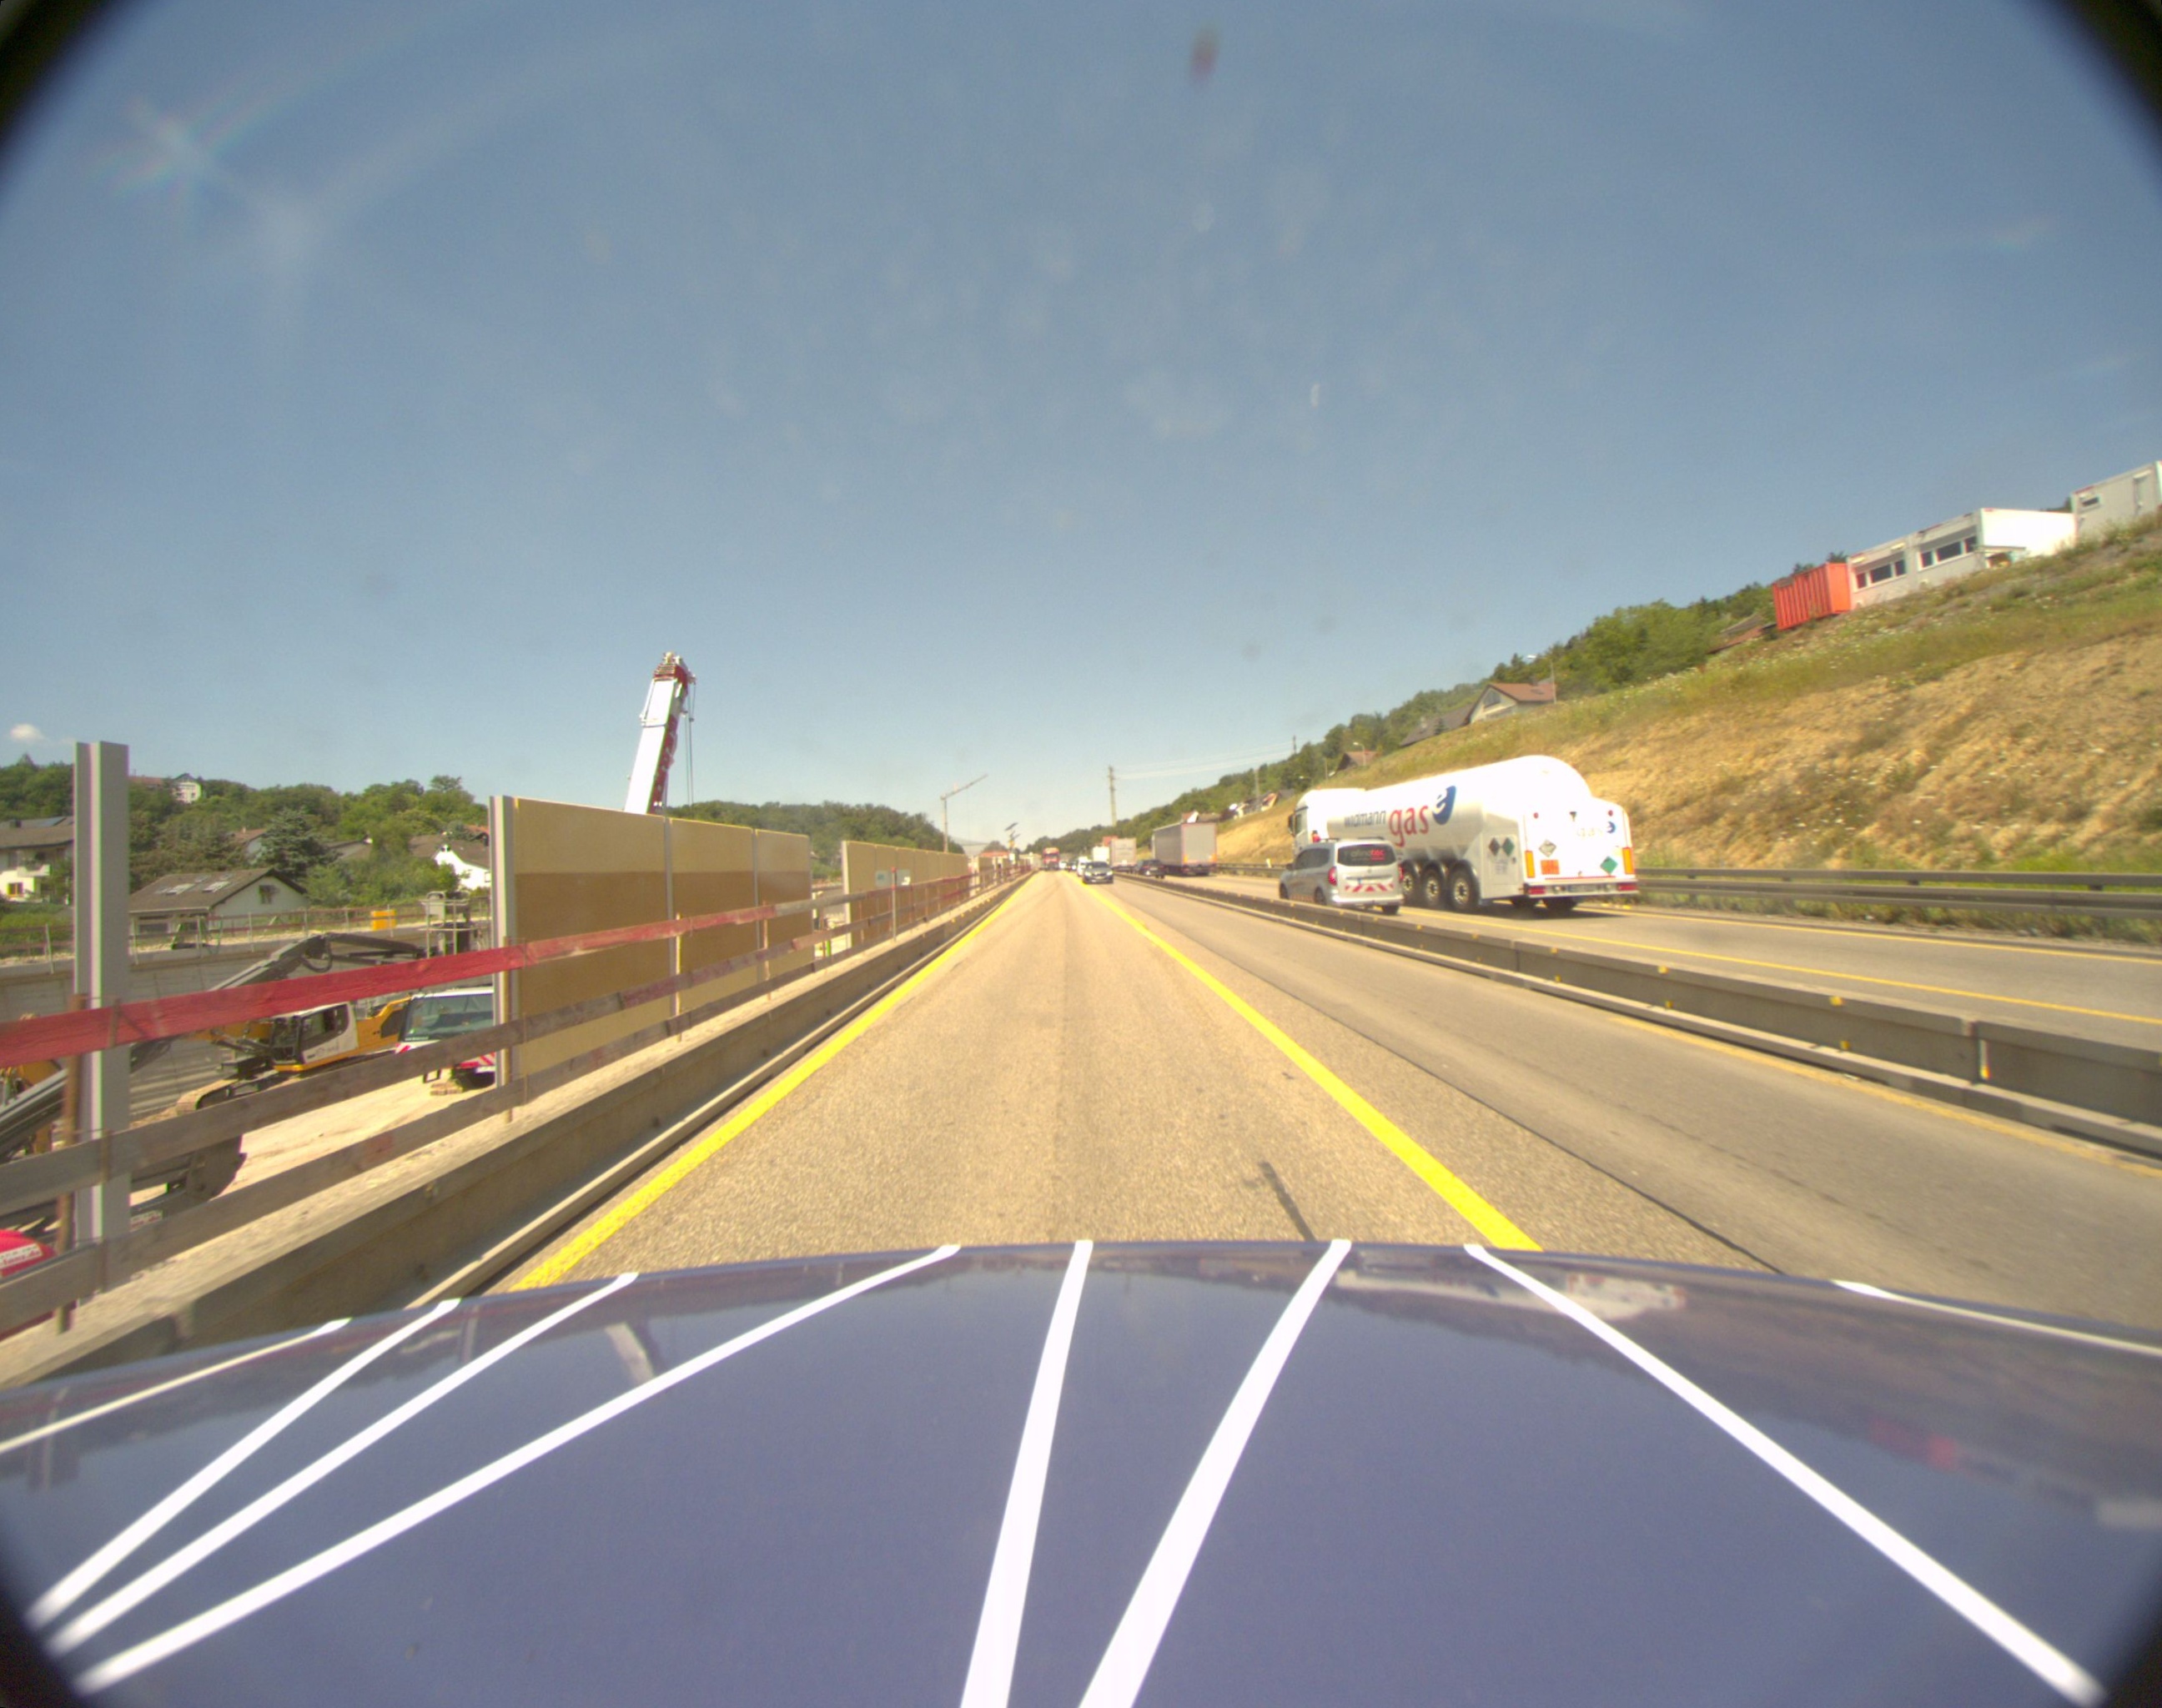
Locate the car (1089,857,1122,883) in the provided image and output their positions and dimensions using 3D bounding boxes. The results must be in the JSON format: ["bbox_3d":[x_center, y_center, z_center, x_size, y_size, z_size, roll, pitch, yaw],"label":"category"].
[{"bbox_3d":[1.473,0.993,47.583,1.780,1.447,4.336,-2,-1,-2],"label":"car"}]

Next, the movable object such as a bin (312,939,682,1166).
[{"bbox_3d":[-14.529,4.625,20.373,2.974,3.467,9.149,-4,0,-3],"label":"movable object such as a bin"}]

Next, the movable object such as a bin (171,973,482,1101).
[{"bbox_3d":[-26.213,6.220,27.220,3.171,2.431,7.893,-4,0,-1],"label":"movable object such as a bin"}]

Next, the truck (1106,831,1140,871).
[{"bbox_3d":[4.095,-0.249,76.117,2.596,3.736,7.357,-3,0,-2],"label":"truck"}]

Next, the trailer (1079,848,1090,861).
[{"bbox_3d":[1.068,0.261,252.803,2.793,4.157,13.976,-2,-1,-3],"label":"trailer"}]

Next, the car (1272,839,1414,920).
[{"bbox_3d":[6.351,0.579,19.007,1.885,1.734,4.482,-1,0,-1],"label":"car"}]

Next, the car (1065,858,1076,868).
[{"bbox_3d":[-1.778,1.563,128.356,1.780,1.485,4.336,-2,-1,-2],"label":"car"}]

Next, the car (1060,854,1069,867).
[{"bbox_3d":[-3.657,1.422,167.973,1.780,2.600,4.336,-2,-1,-2],"label":"car"}]

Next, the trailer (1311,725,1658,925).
[{"bbox_3d":[9.631,-0.536,20.672,2.597,3.779,11.915,-3,0,-2],"label":"trailer"}]

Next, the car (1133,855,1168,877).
[{"bbox_3d":[4.964,0.847,54.731,1.784,1.449,4.719,-3,0,-3],"label":"car"}]

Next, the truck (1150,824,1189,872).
[{"bbox_3d":[7.926,-0.509,68.086,2.705,4.026,3.954,-3,0,-3],"label":"truck"}]

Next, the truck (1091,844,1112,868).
[{"bbox_3d":[2.950,0.322,111.771,2.545,3.354,7.037,-3,0,-1],"label":"truck"}]

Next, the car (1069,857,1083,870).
[{"bbox_3d":[-0.766,1.351,106.804,1.780,1.727,4.336,-2,-1,-2],"label":"car"}]

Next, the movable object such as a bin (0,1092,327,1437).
[{"bbox_3d":[-11.985,4.706,8.477,2.174,2.417,4.820,-4,0,-1],"label":"movable object such as a bin"}]

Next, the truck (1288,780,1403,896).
[{"bbox_3d":[9.384,-0.526,27.374,2.597,3.779,3.766,-3,0,-2],"label":"truck"}]

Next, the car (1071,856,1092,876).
[{"bbox_3d":[0.000,1.112,70.543,1.780,1.682,4.336,-2,-1,-2],"label":"car"}]

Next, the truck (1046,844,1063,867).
[{"bbox_3d":[-4.666,0.366,134.761,2.606,3.703,10.536,-2,-1,-2],"label":"truck"}]

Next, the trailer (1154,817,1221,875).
[{"bbox_3d":[8.236,-0.547,60.995,2.705,4.001,13.699,-3,0,-2],"label":"trailer"}]

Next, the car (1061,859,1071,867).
[{"bbox_3d":[-3.063,1.897,154.291,1.780,1.485,4.336,-2,-1,-2],"label":"car"}]
